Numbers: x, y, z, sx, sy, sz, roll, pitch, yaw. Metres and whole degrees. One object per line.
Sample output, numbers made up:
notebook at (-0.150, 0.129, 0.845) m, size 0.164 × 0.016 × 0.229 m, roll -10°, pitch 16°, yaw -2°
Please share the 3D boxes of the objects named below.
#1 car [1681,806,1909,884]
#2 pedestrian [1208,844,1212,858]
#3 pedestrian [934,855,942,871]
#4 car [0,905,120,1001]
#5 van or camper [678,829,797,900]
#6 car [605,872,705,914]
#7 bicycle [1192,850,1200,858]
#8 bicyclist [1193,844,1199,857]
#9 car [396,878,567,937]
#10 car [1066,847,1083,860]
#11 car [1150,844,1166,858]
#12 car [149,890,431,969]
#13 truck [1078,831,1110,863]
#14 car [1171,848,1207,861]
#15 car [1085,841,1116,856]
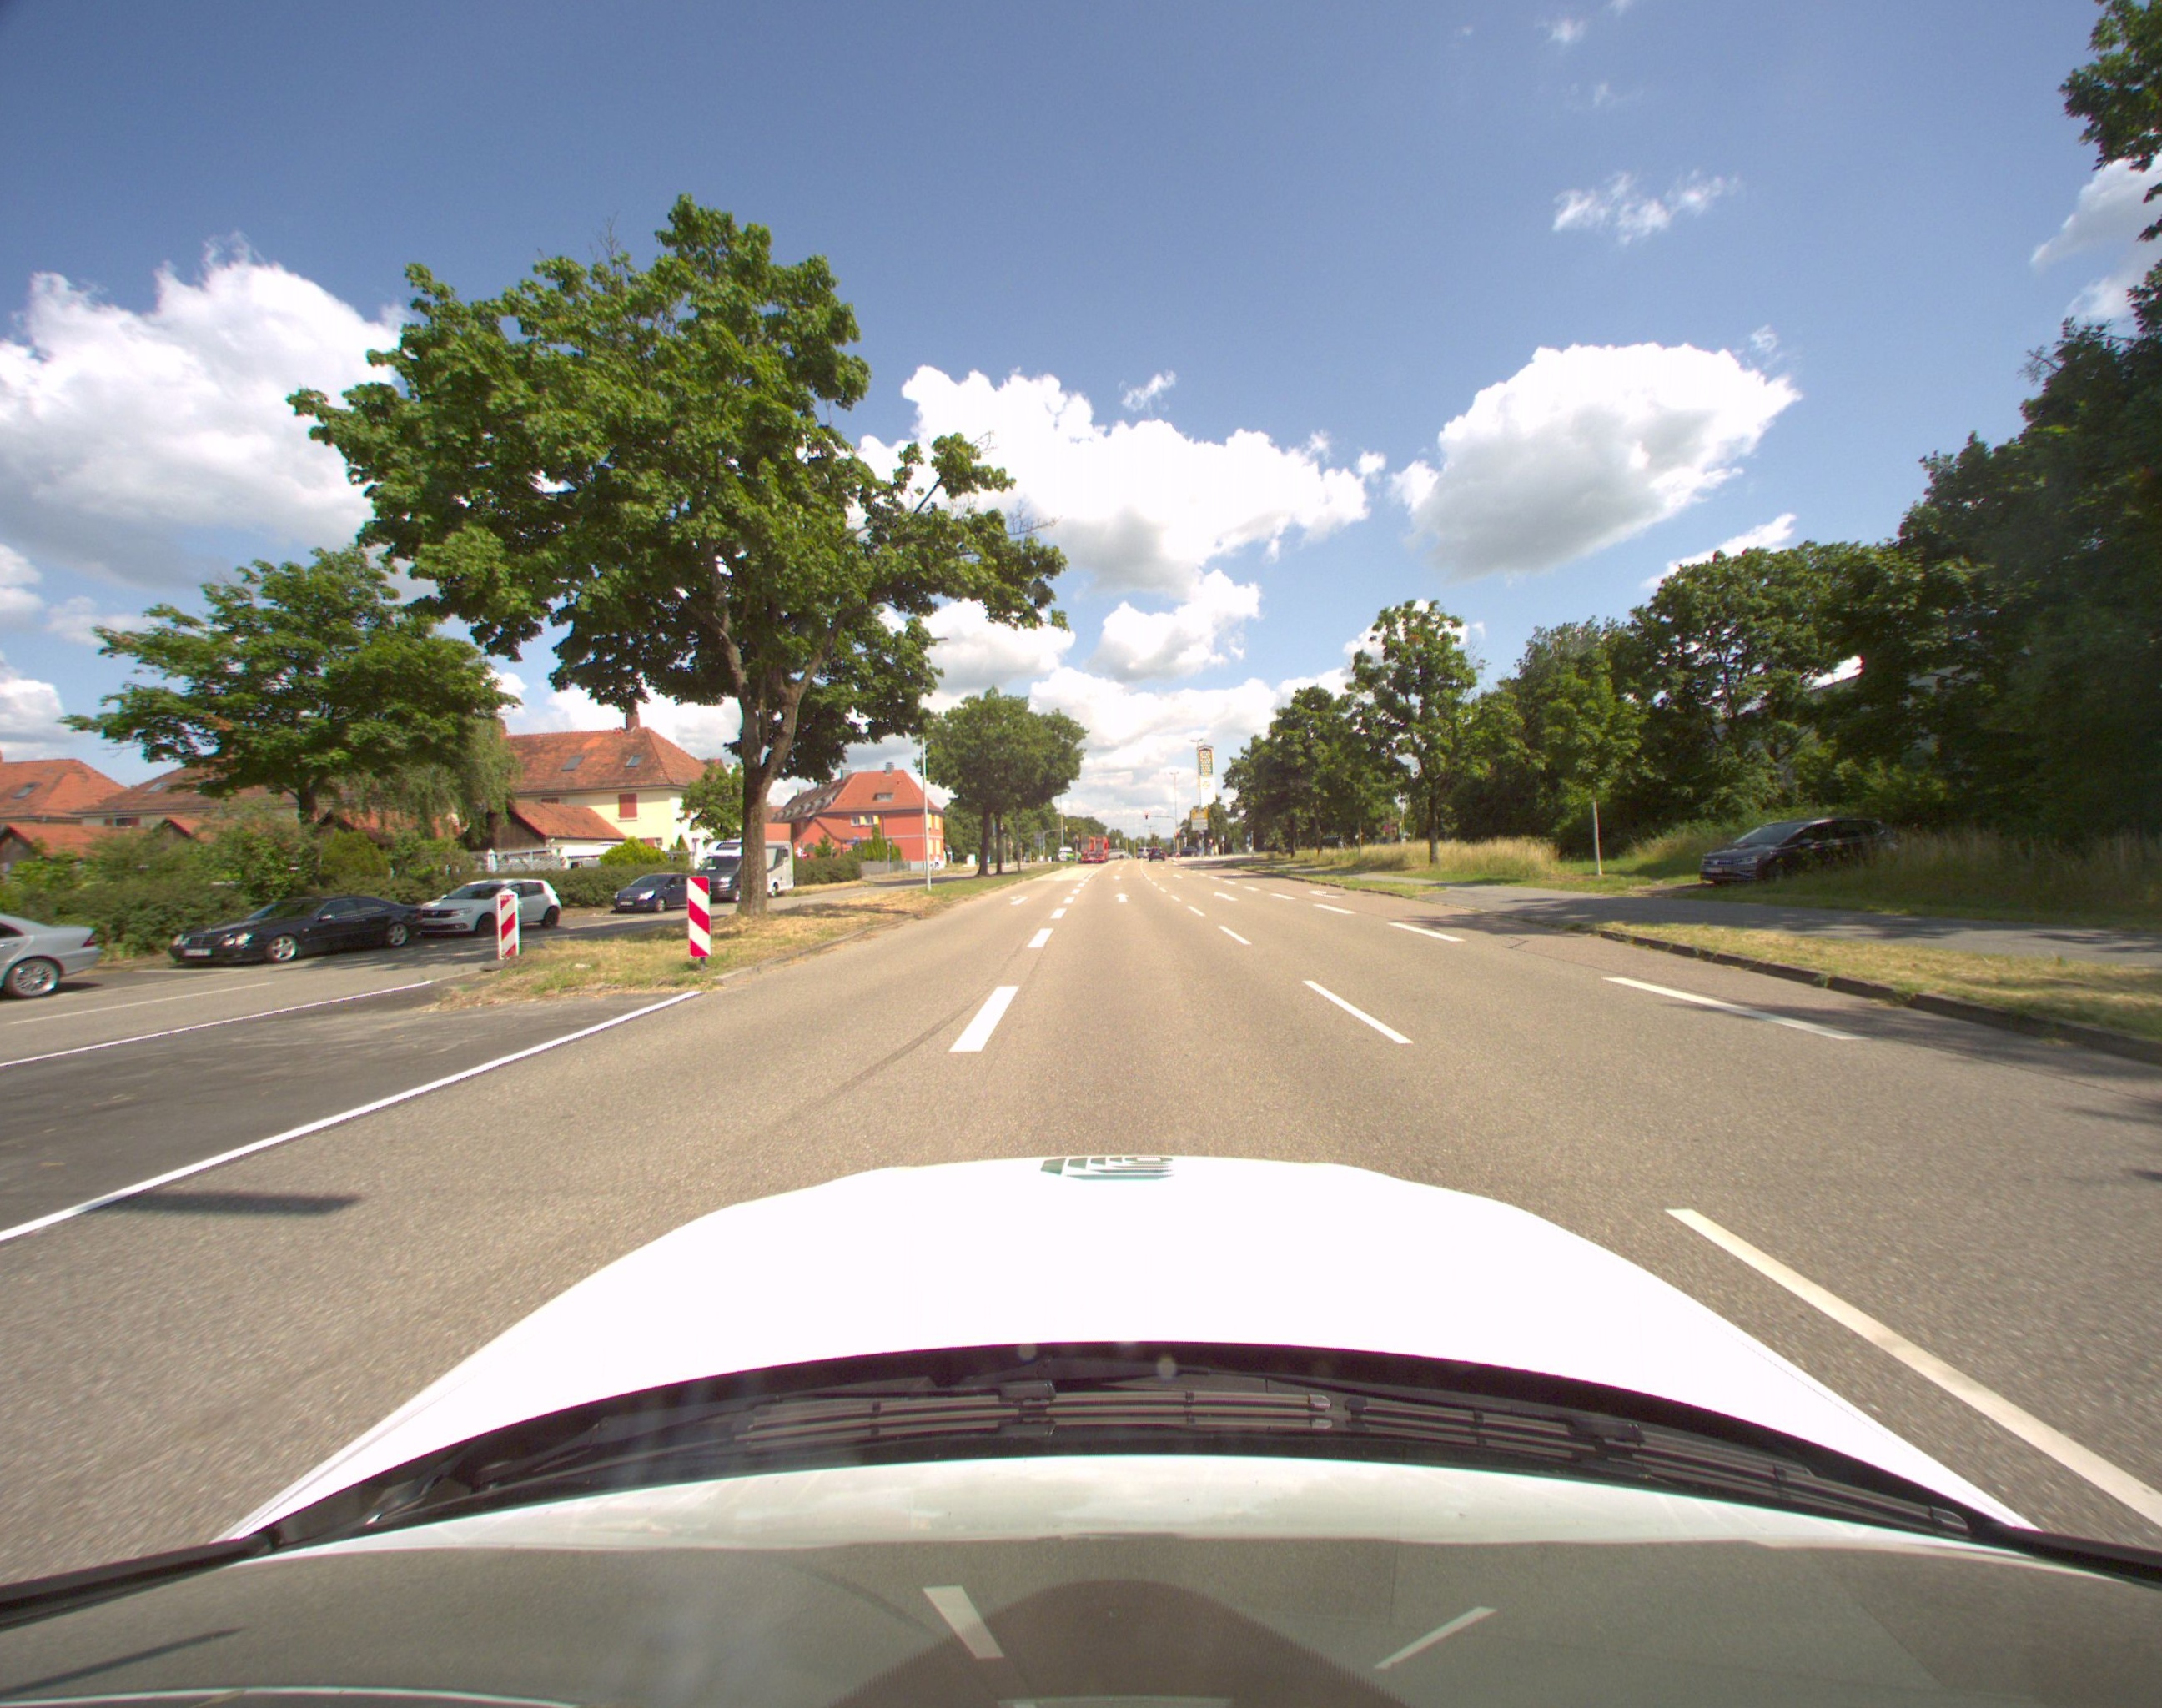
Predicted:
car at (17.455, -0.241, 20.030) m, size 4.155 × 1.493 × 1.782 m, roll -5°, pitch 2°, yaw -4°
pedestrian at (16.443, -0.407, 103.957) m, size 0.461 × 1.779 × 0.484 m, roll 0°, pitch -1°, yaw 15°
pedestrian at (-15.100, 0.952, 86.154) m, size 0.693 × 1.583 × 0.852 m, roll 0°, pitch -1°, yaw 3°
car at (-17.457, 1.583, 11.805) m, size 1.504 × 1.370 × 4.536 m, roll 0°, pitch 0°, yaw 4°
van or camper at (-16.300, 0.435, 39.296) m, size 2.249 × 3.112 × 7.327 m, roll 0°, pitch 1°, yaw 4°
car at (-16.579, 1.489, 31.931) m, size 1.629 × 1.485 × 3.996 m, roll 0°, pitch -1°, yaw 4°
bicycle at (14.988, 0.010, 105.714) m, size 0.643 × 1.107 × 1.937 m, roll 0°, pitch -1°, yaw 19°
bicyclist at (14.924, -0.404, 105.535) m, size 0.643 × 1.661 × 0.653 m, roll 0°, pitch -1°, yaw 19°
car at (-17.118, 1.464, 23.542) m, size 1.681 × 1.485 × 4.128 m, roll 0°, pitch -1°, yaw 4°
car at (-0.849, -0.093, 105.785) m, size 1.725 × 1.508 × 4.657 m, roll -5°, pitch -1°, yaw 3°
car at (8.837, -0.277, 93.727) m, size 1.792 × 1.552 × 4.004 m, roll 0°, pitch -1°, yaw 4°
car at (-17.290, 1.576, 18.204) m, size 1.629 × 1.306 × 4.589 m, roll 0°, pitch 0°, yaw 4°
truck at (1.605, -0.675, 93.524) m, size 3.057 × 3.414 × 11.078 m, roll 0°, pitch -1°, yaw 4°
car at (11.736, 0.049, 88.767) m, size 3.578 × 1.442 × 1.469 m, roll 0°, pitch -1°, yaw -15°
car at (2.729, -0.719, 114.209) m, size 3.998 × 2.014 × 1.988 m, roll 0°, pitch -1°, yaw -18°
